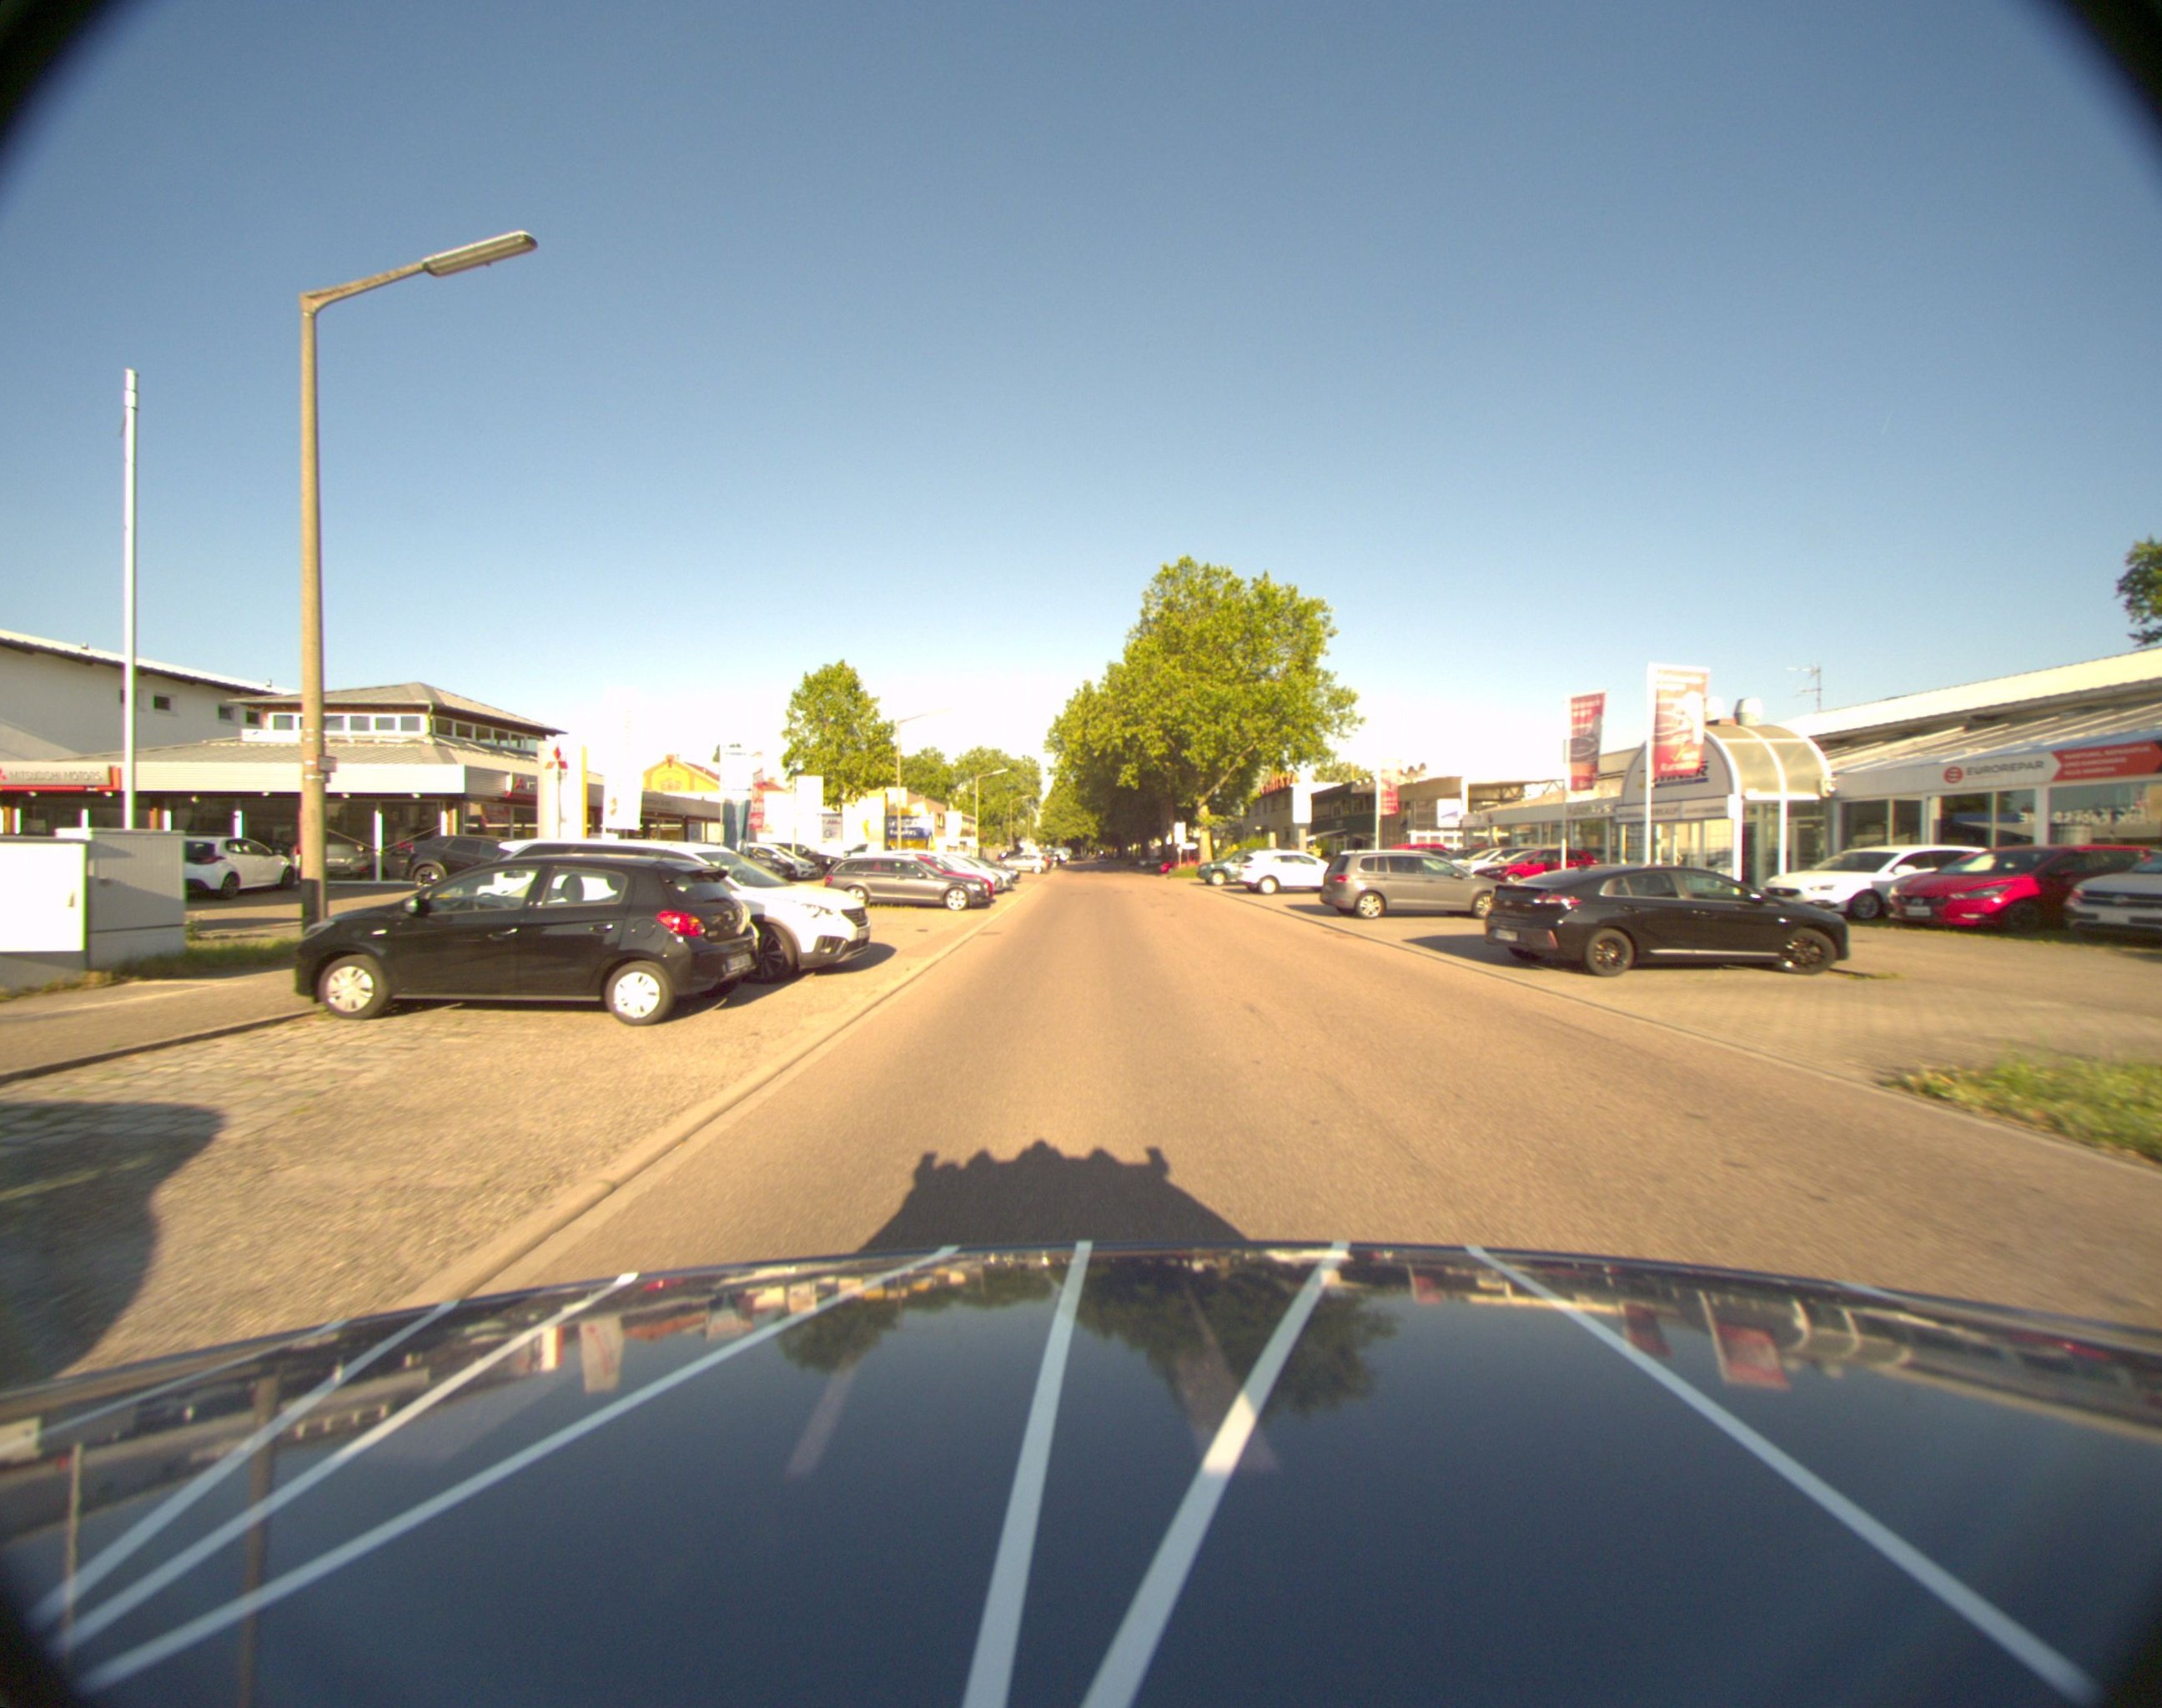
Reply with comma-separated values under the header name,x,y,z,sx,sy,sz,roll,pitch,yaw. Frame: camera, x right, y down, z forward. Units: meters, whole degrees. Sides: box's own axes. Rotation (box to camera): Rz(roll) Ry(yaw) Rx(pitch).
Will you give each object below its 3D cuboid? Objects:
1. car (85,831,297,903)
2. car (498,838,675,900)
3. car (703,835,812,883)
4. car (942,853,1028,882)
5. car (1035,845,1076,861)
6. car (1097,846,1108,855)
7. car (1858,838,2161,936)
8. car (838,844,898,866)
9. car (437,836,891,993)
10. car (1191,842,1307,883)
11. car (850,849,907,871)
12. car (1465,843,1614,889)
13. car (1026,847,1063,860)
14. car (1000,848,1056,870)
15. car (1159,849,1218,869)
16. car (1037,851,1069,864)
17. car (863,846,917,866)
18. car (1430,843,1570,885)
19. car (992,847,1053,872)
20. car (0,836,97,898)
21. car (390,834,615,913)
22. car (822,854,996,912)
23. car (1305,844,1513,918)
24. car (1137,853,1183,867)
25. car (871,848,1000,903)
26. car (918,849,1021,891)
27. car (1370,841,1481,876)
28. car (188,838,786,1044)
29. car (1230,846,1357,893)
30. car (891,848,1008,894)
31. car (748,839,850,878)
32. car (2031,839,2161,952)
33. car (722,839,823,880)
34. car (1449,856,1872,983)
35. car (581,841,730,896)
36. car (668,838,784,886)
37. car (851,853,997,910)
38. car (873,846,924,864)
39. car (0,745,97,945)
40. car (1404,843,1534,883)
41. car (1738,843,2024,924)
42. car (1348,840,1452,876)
name,x,y,z,sx,sy,sz,roll,pitch,yaw
car,-21.845,0.270,18.911,2.003,1.572,3.868,-2,1,-26
car,-14.783,0.420,22.888,3.997,1.650,2.000,2,1,0
car,-14.413,0.214,34.047,3.809,1.887,2.202,3,0,0
car,-4.805,0.660,38.292,3.996,1.289,1.784,1,1,3
car,-4.526,-0.182,135.032,6.985,2.644,2.138,0,0,19
car,3.785,-0.581,135.029,1.843,1.562,3.801,2,1,0
car,16.979,0.531,13.647,3.997,1.547,2.000,-1,1,0
car,-16.011,0.038,57.248,3.998,1.510,1.999,-1,1,-4
car,-5.014,0.684,9.790,4.567,1.588,2.201,3,1,-3
car,8.312,0.391,37.888,5.273,1.888,2.201,-1,1,0
car,-15.831,0.423,59.544,3.998,1.586,1.999,-1,1,-4
car,17.045,0.421,28.402,4.475,1.544,1.836,-1,1,-1
car,-4.774,-0.095,99.942,4.637,1.518,1.999,3,1,-1
car,-4.535,0.404,65.452,4.611,1.571,2.000,3,1,2
car,8.418,0.380,59.643,4.307,1.438,1.999,-2,1,0
car,-4.210,0.489,113.977,4.637,1.702,1.999,3,1,-1
car,-15.763,0.132,62.879,3.998,1.510,1.952,-1,1,-4
car,17.027,0.387,31.044,4.673,1.583,1.928,-1,1,-1
car,-4.553,0.417,59.774,4.612,1.604,1.999,3,1,0
car,-26.818,0.334,18.474,2.003,1.459,3.868,-2,1,-26
car,-14.491,0.459,19.224,4.154,1.761,2.000,2,1,0
car,-4.783,0.800,21.679,4.448,1.427,2.135,2,1,0
car,8.078,0.627,19.043,4.242,1.646,2.201,-1,1,-2
car,8.213,0.651,79.704,4.612,1.413,2.000,0,0,0
car,-4.949,0.699,26.320,4.120,1.730,1.883,-1,1,-3
car,-4.505,0.643,31.206,3.998,1.579,1.866,1,1,-3
car,17.318,0.215,38.361,4.726,1.624,1.999,-1,1,-1
car,-5.381,0.729,7.373,4.259,1.614,1.920,2,1,-1
car,8.242,0.569,29.774,4.314,1.646,2.201,-1,1,-2
car,-4.843,0.617,28.539,4.120,1.608,2.058,1,1,-3
car,-14.807,0.214,40.074,4.507,1.888,2.201,-1,1,0
car,17.080,0.550,11.147,3.920,1.547,1.887,-1,1,0
car,-14.758,0.311,36.563,3.943,1.886,2.203,0,-2,0
car,7.865,0.825,10.675,4.325,1.451,2.201,-1,1,-2
car,-14.606,0.469,26.277,3.997,1.687,2.000,2,1,0
car,-14.617,0.304,31.432,3.912,1.888,1.786,0,3,0
car,-4.801,0.831,23.770,4.255,1.596,1.745,-1,1,-6
car,-15.912,0.093,66.501,3.998,1.488,1.999,-1,1,-4
car,-15.162,-0.071,7.808,1.998,2.610,6.136,-1,1,0
car,17.046,0.367,33.562,4.731,1.633,1.999,-1,1,-1
car,16.917,0.576,16.243,3.997,1.547,2.000,-1,1,0
car,17.230,0.187,41.157,4.758,1.809,1.999,-1,1,-1
